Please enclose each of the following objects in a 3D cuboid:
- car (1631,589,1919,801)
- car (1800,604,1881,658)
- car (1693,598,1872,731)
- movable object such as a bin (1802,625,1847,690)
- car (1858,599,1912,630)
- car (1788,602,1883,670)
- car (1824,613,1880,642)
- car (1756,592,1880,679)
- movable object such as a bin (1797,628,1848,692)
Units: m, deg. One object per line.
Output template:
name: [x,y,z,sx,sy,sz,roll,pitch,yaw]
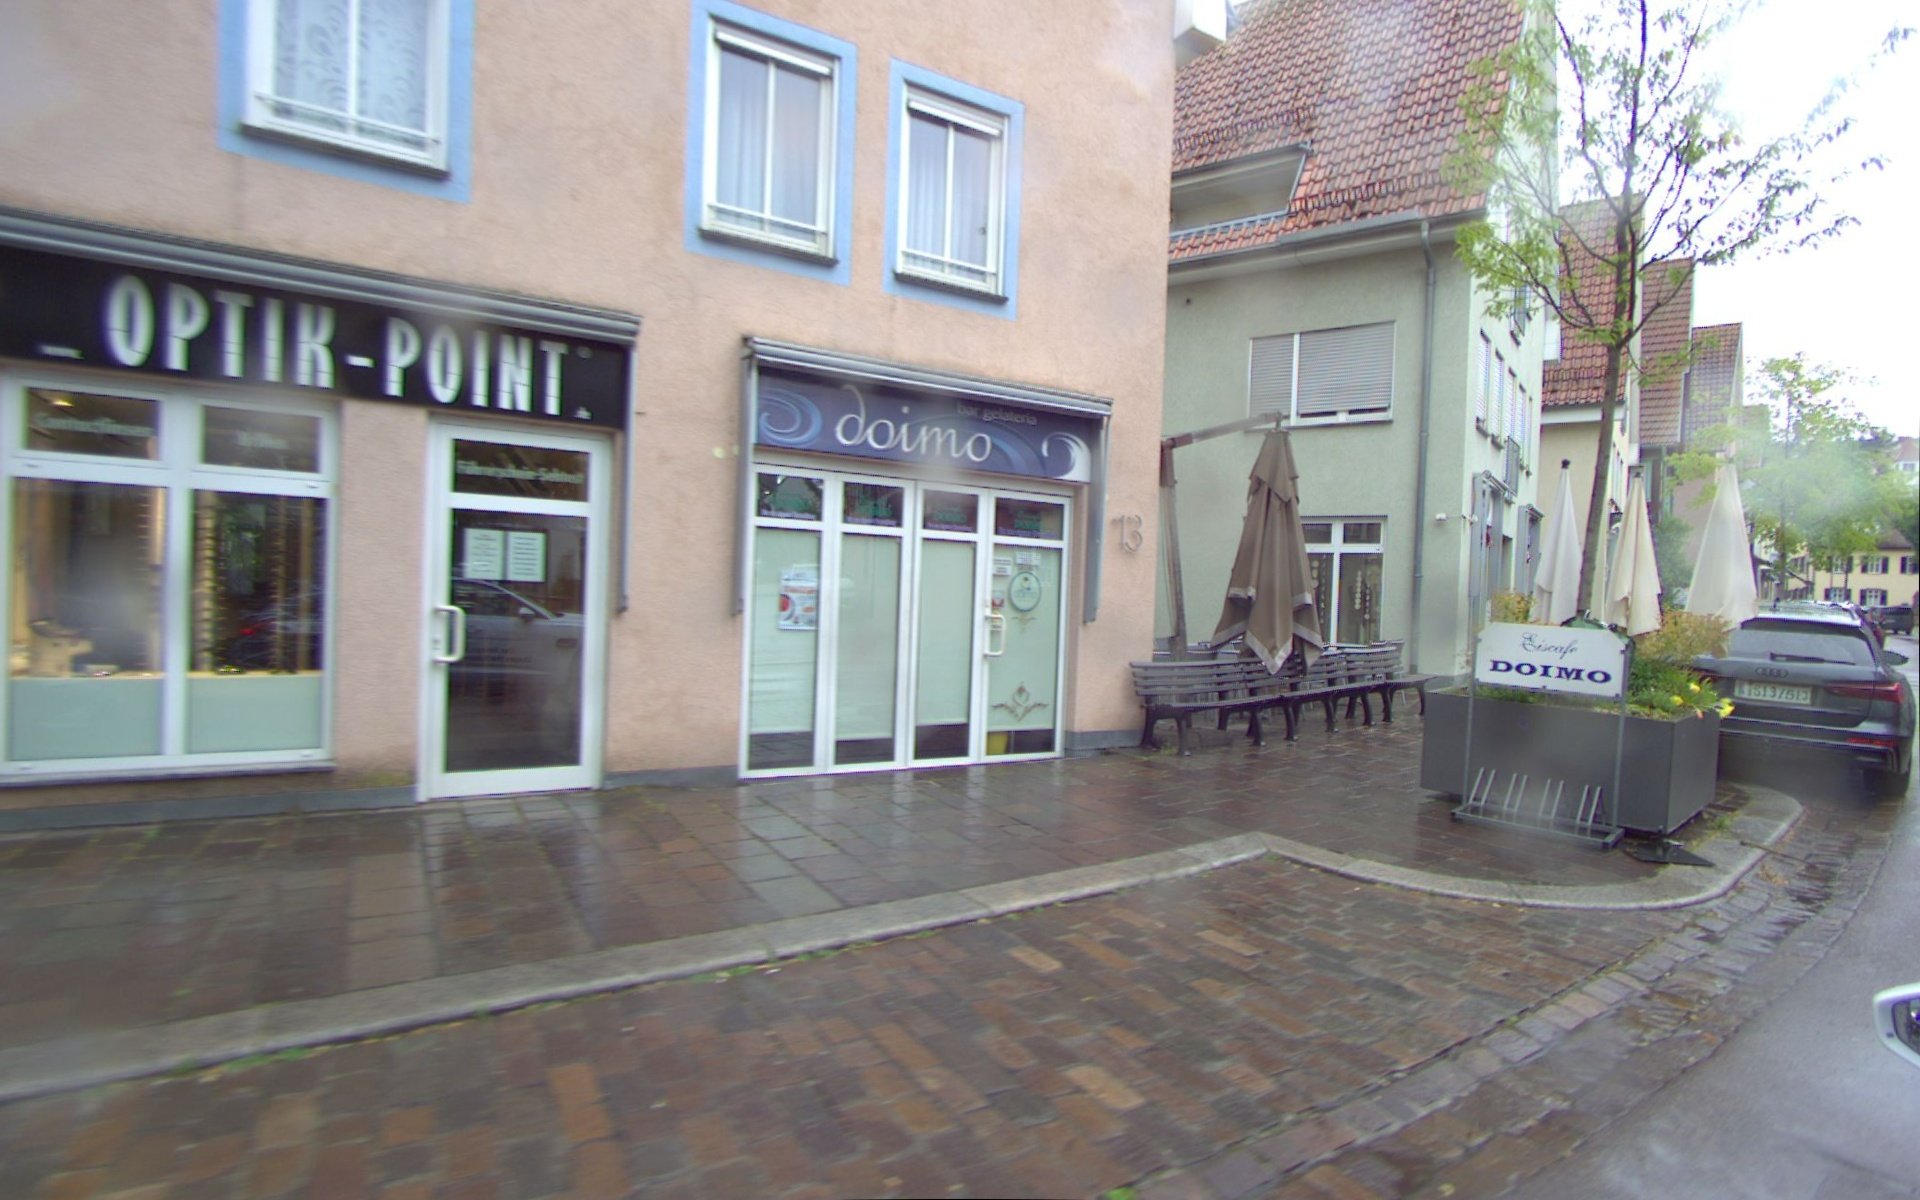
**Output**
car: [7.759,0.697,9.618,1.779,1.452,4.607,4,2,38]
car: [28.046,0.994,31.994,1.813,1.572,4.259,1,-1,42]
car: [11.516,0.827,13.970,1.576,1.566,3.953,1,-1,44]
movable object such as a bin: [16.773,1.108,19.486,0.519,1.217,0.596,2,0,-44]
car: [64.613,1.020,70.239,1.965,2.040,3.991,2,-1,31]
car: [24.068,0.971,27.614,1.813,1.697,4.516,1,-1,42]
car: [49.617,1.490,55.923,1.968,1.491,3.984,3,1,37]
car: [19.156,0.774,22.359,1.753,1.697,4.452,3,1,44]
movable object such as a bin: [15.383,1.060,17.915,0.614,1.093,0.720,1,-1,45]
